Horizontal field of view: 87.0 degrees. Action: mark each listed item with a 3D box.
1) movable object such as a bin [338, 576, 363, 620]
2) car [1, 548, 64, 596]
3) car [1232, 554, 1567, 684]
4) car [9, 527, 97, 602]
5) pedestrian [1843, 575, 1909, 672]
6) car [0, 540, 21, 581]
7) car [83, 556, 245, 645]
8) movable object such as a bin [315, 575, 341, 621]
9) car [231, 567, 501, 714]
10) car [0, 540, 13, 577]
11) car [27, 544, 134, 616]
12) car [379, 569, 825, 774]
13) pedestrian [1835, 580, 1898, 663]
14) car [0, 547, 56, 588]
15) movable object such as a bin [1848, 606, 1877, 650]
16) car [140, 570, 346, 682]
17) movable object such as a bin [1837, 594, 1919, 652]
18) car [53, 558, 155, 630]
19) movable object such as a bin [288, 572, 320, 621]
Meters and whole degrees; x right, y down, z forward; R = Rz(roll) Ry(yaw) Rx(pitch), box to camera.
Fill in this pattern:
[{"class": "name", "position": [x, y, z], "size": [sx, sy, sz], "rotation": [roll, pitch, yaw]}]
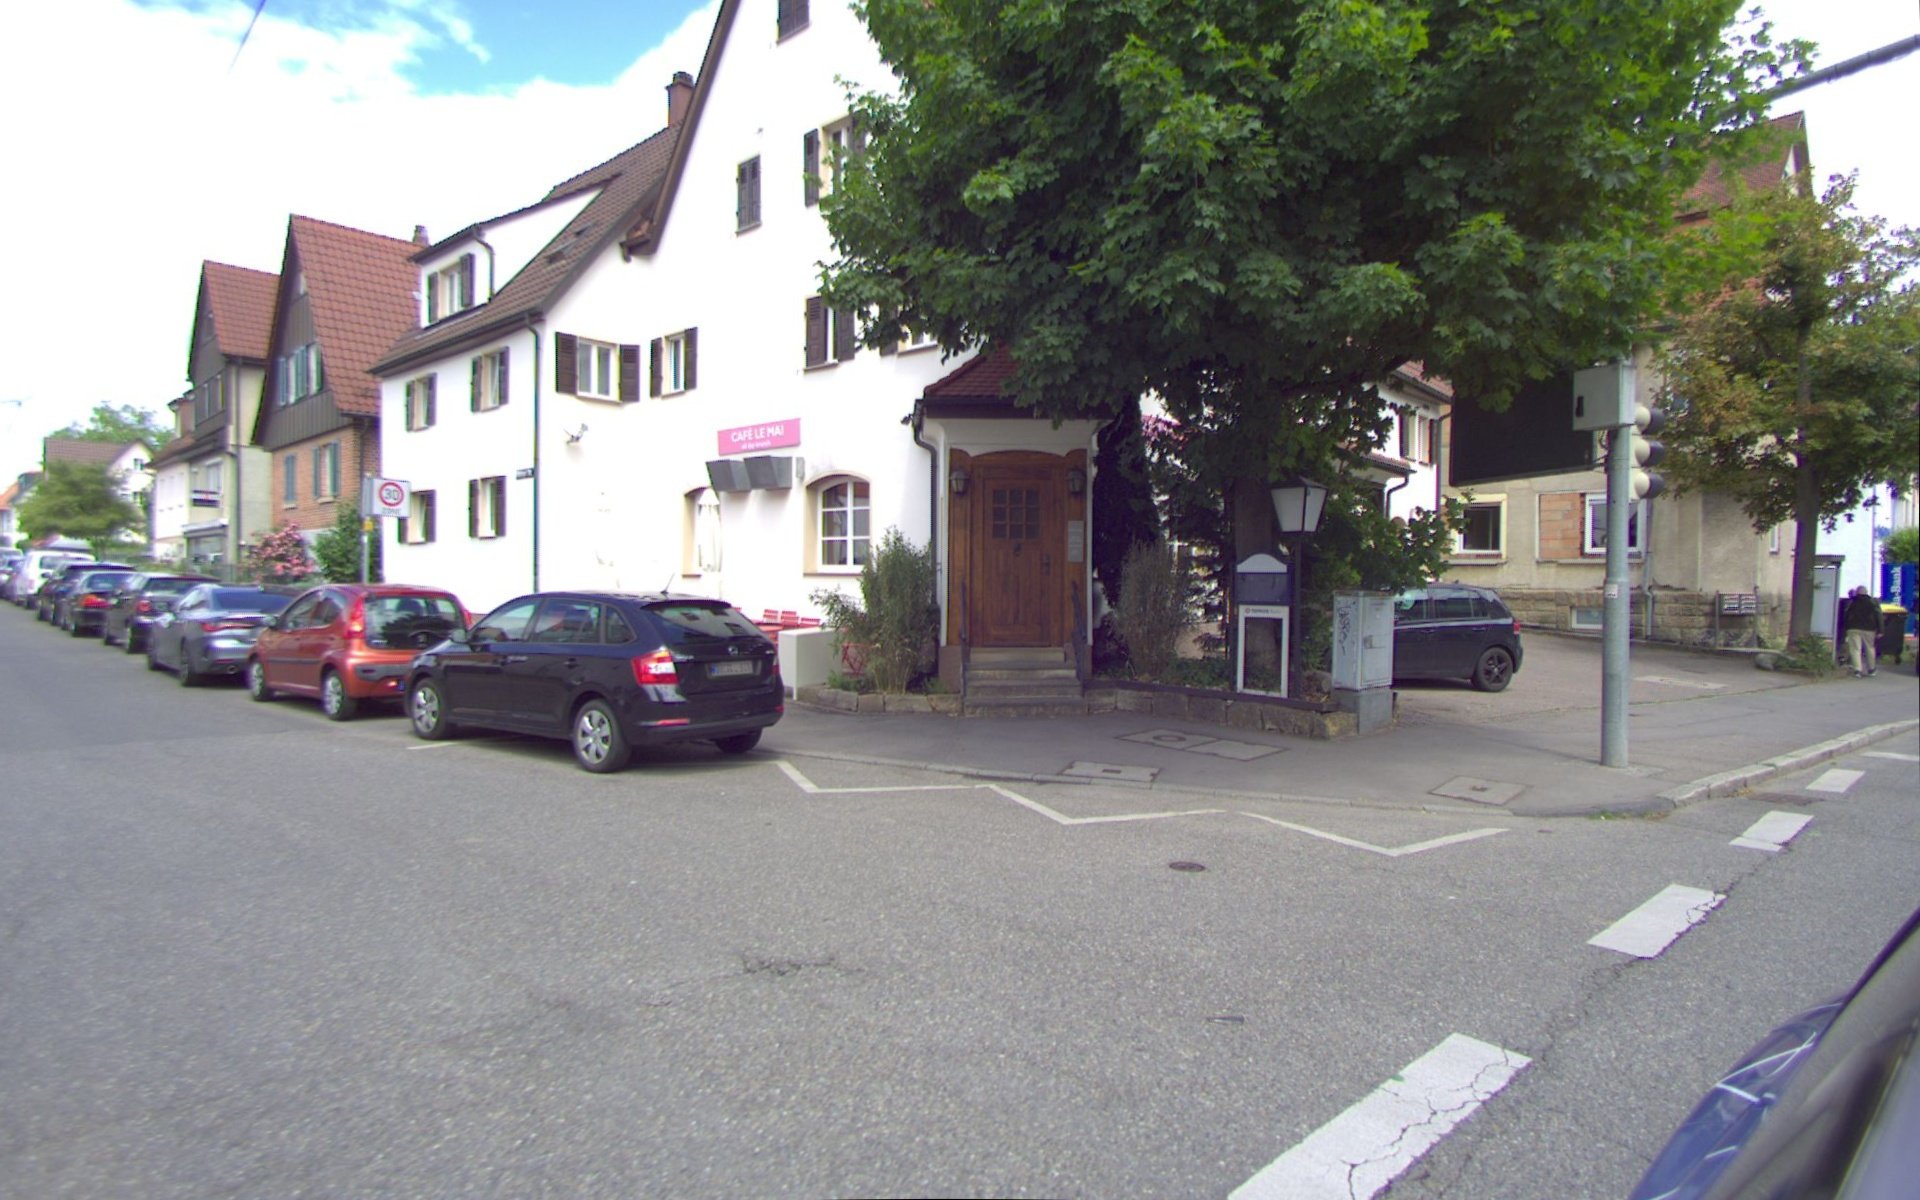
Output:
[{"class": "movable object such as a bin", "position": [-14.301, -0.051, 23.737], "size": [0.390, 1.010, 0.390], "rotation": [0, 1, 41]}, {"class": "car", "position": [-33.013, -0.977, 36.017], "size": [3.143, 1.630, 1.486], "rotation": [1, 1, 44]}, {"class": "car", "position": [6.091, 0.246, 14.163], "size": [3.993, 1.535, 1.762], "rotation": [2, 4, -16]}, {"class": "car", "position": [-29.434, -1.120, 32.815], "size": [4.112, 2.252, 1.866], "rotation": [1, 1, 44]}, {"class": "pedestrian", "position": [17.518, 0.430, 19.361], "size": [0.882, 1.805, 0.743], "rotation": [0, 1, -35]}, {"class": "car", "position": [-44.139, -1.791, 46.365], "size": [3.701, 1.856, 1.498], "rotation": [1, 1, 45]}, {"class": "car", "position": [-15.282, -0.049, 19.361], "size": [4.108, 1.526, 1.762], "rotation": [1, 2, 42]}, {"class": "movable object such as a bin", "position": [-14.587, -0.051, 23.365], "size": [0.390, 1.028, 0.409], "rotation": [0, 1, 41]}, {"class": "car", "position": [-7.123, 0.381, 12.057], "size": [3.406, 1.505, 1.630], "rotation": [1, 1, 38]}, {"class": "car", "position": [-47.368, -1.999, 49.538], "size": [3.052, 1.753, 1.340], "rotation": [1, 1, 44]}, {"class": "car", "position": [-22.720, -0.517, 26.088], "size": [4.108, 1.702, 1.602], "rotation": [1, 1, 42]}, {"class": "car", "position": [-3.404, 0.494, 9.350], "size": [4.157, 1.433, 1.757], "rotation": [2, 1, 34]}, {"class": "pedestrian", "position": [18.574, 0.421, 20.741], "size": [0.783, 1.663, 0.787], "rotation": [0, 1, -35]}, {"class": "car", "position": [-36.162, -1.224, 39.025], "size": [3.701, 1.491, 1.716], "rotation": [1, 1, 44]}, {"class": "movable object such as a bin", "position": [20.491, 0.635, 22.973], "size": [0.408, 0.949, 0.269], "rotation": [6, 4, 39]}, {"class": "car", "position": [-10.622, 0.263, 14.863], "size": [4.354, 1.377, 1.760], "rotation": [2, 2, 45]}, {"class": "movable object such as a bin", "position": [21.439, 0.507, 23.537], "size": [1.170, 1.281, 1.202], "rotation": [1, 1, 18]}, {"class": "car", "position": [-19.084, -0.160, 22.507], "size": [1.485, 1.464, 4.027], "rotation": [-1, 1, -44]}, {"class": "movable object such as a bin", "position": [-14.902, -0.078, 22.991], "size": [0.390, 1.098, 0.520], "rotation": [0, 1, 41]}]
